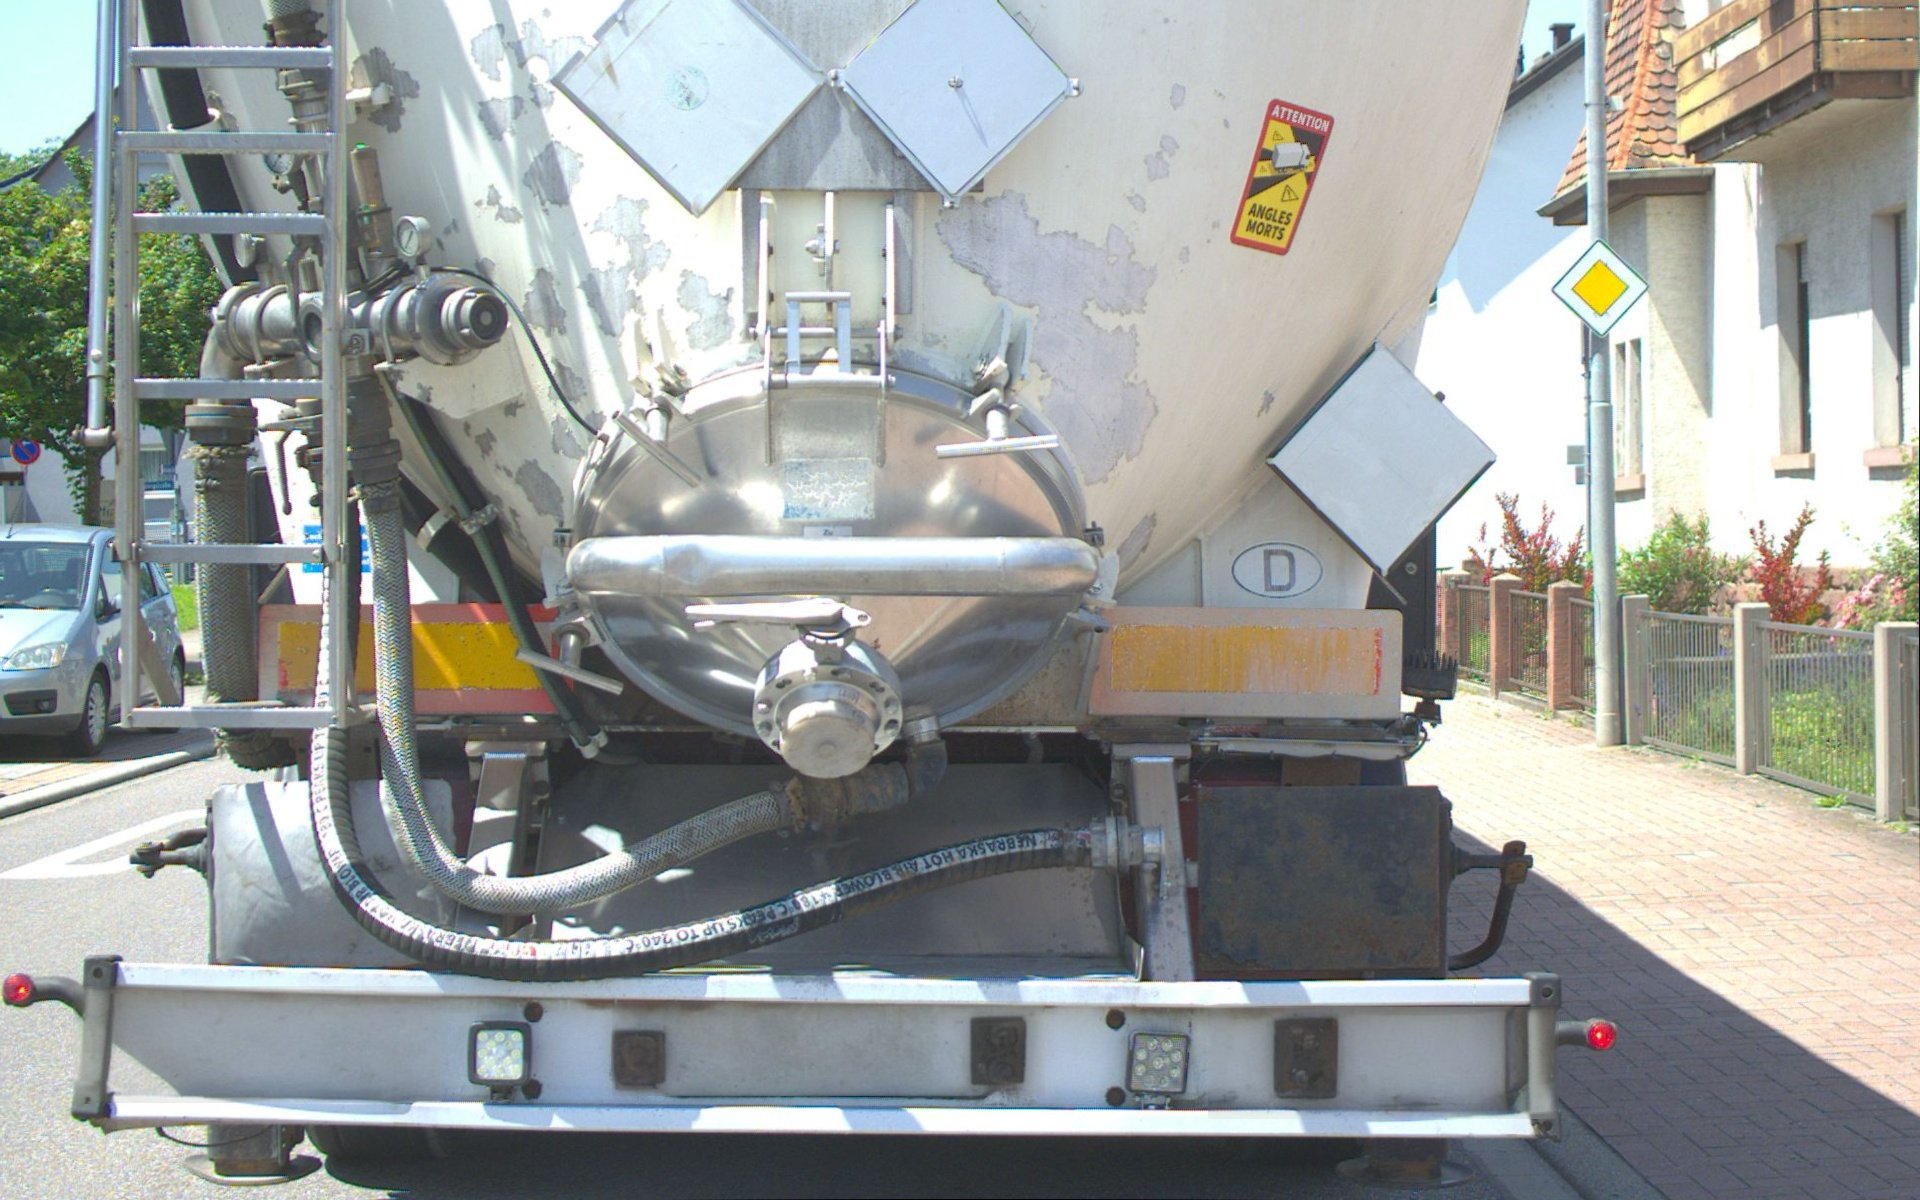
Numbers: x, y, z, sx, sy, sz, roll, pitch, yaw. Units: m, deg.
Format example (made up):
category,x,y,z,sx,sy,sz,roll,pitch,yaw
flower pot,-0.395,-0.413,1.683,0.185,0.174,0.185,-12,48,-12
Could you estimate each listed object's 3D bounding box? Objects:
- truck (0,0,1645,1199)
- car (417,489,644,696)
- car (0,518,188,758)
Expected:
category,x,y,z,sx,sy,sz,roll,pitch,yaw
truck,-0.307,-0.755,10.039,2.641,4.002,9.562,0,1,0
car,-4.159,-0.123,33.862,1.655,1.848,4.464,-2,1,-1
car,-6.757,0.205,24.547,1.697,1.575,3.838,0,1,-1
